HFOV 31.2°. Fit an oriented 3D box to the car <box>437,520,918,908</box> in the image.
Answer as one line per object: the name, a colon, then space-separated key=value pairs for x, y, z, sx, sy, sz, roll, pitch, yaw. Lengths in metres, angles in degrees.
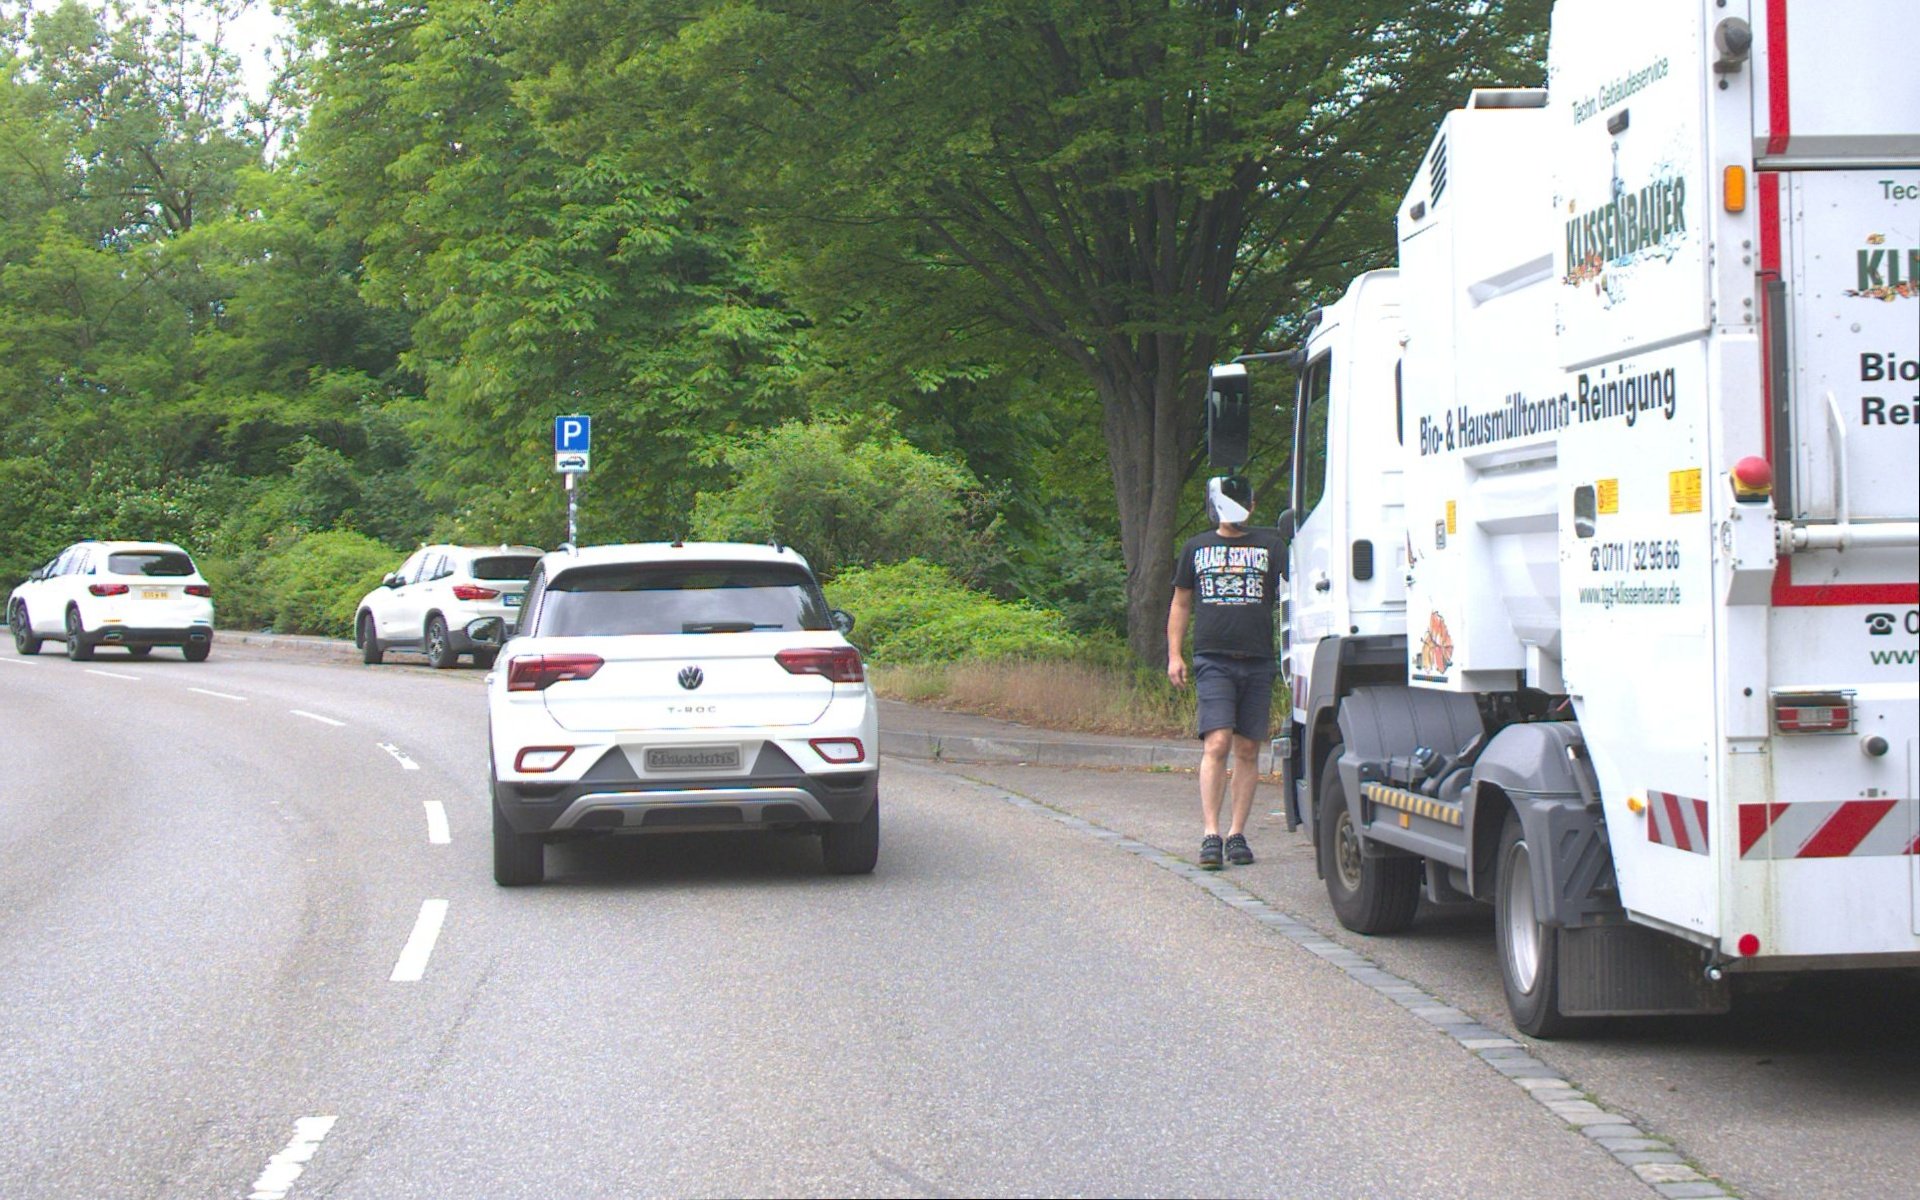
car: x=-1.444 y=0.470 z=16.834 sx=2.000 sy=1.590 sz=4.001 roll=3 pitch=0 yaw=-7

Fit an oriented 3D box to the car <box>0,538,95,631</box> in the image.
car: x=-16.688 y=-0.330 z=59.396 sx=1.733 sy=1.477 sz=4.701 roll=3 pitch=1 yaw=-35

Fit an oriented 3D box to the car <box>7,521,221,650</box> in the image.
car: x=-11.844 y=-0.242 z=47.981 sx=1.851 sy=1.697 sz=4.000 roll=-1 pitch=2 yaw=-30

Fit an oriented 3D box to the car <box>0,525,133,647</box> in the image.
car: x=-14.365 y=-0.266 z=52.115 sx=1.994 sy=1.711 sz=3.999 roll=3 pitch=1 yaw=-38

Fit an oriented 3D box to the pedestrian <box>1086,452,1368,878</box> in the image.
pedestrian: x=1.259 y=0.298 z=16.477 sx=0.917 sy=1.827 sz=0.984 roll=12 pitch=0 yaw=1

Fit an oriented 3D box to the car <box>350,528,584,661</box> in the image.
car: x=-6.492 y=-0.101 z=44.895 sx=1.758 sy=1.646 sz=4.381 roll=-1 pitch=1 yaw=-26

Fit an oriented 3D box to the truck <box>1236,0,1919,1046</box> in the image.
truck: x=2.708 y=-0.526 z=12.148 sx=2.482 sy=3.171 sz=7.230 roll=0 pitch=1 yaw=-3
